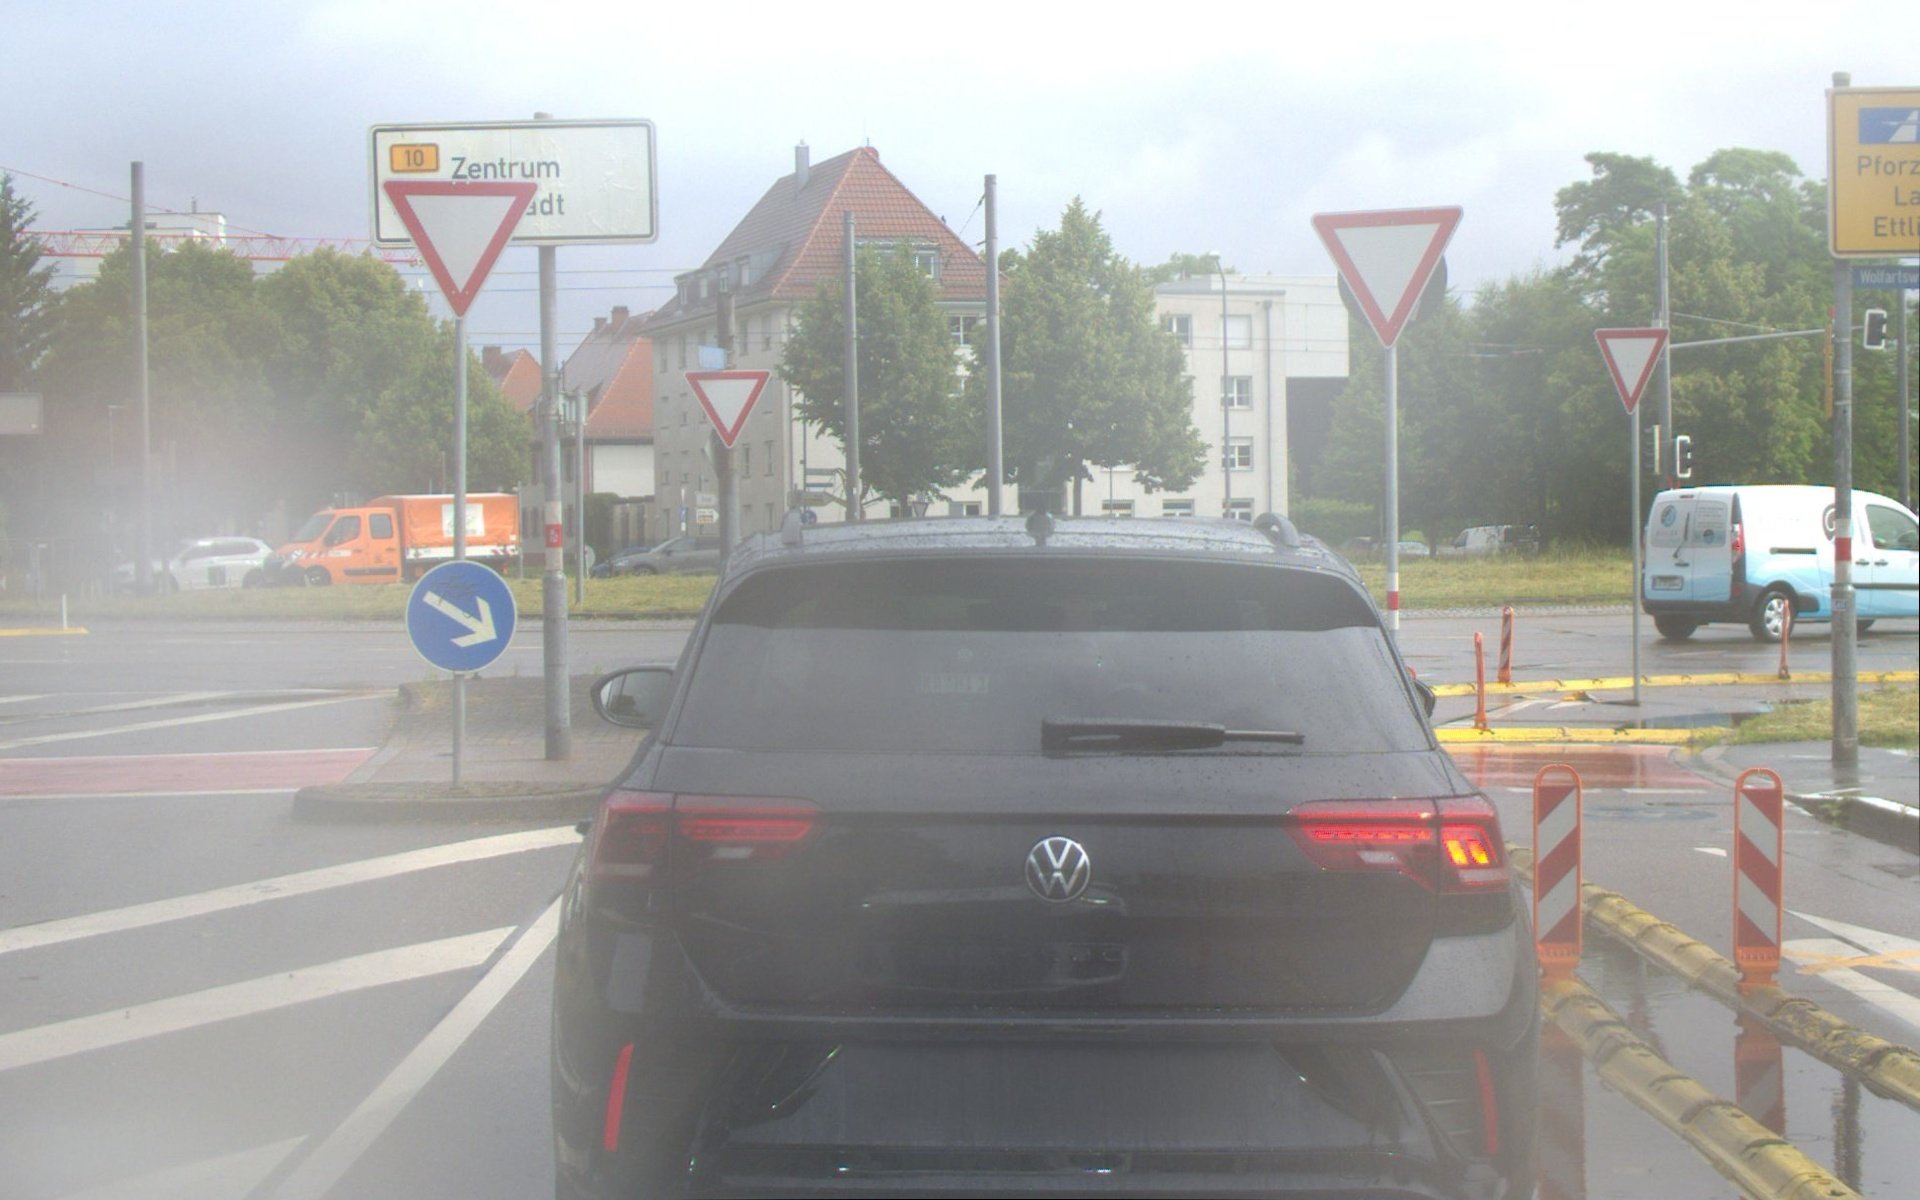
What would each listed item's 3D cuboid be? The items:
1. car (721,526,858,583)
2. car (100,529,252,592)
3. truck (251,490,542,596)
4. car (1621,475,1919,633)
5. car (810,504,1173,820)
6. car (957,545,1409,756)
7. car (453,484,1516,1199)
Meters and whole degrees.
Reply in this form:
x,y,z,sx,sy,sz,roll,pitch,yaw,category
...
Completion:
x,y,z,sx,sy,sz,roll,pitch,yaw,category
-4.904,-1.310,98.690,3.871,1.579,1.567,0,1,-6,car
-20.339,-1.049,89.254,3.496,1.579,1.567,-1,2,-39,car
-14.491,-1.510,88.697,7.067,2.641,2.330,-1,1,-34,truck
10.197,-0.578,41.251,4.389,1.803,1.870,-1,1,-33,car
0.086,0.255,18.310,1.735,1.509,3.604,0,1,-2,car
2.102,0.400,31.310,1.998,1.719,4.347,0,2,38,car
-0.057,0.573,7.374,1.708,1.568,3.683,0,1,-3,car
